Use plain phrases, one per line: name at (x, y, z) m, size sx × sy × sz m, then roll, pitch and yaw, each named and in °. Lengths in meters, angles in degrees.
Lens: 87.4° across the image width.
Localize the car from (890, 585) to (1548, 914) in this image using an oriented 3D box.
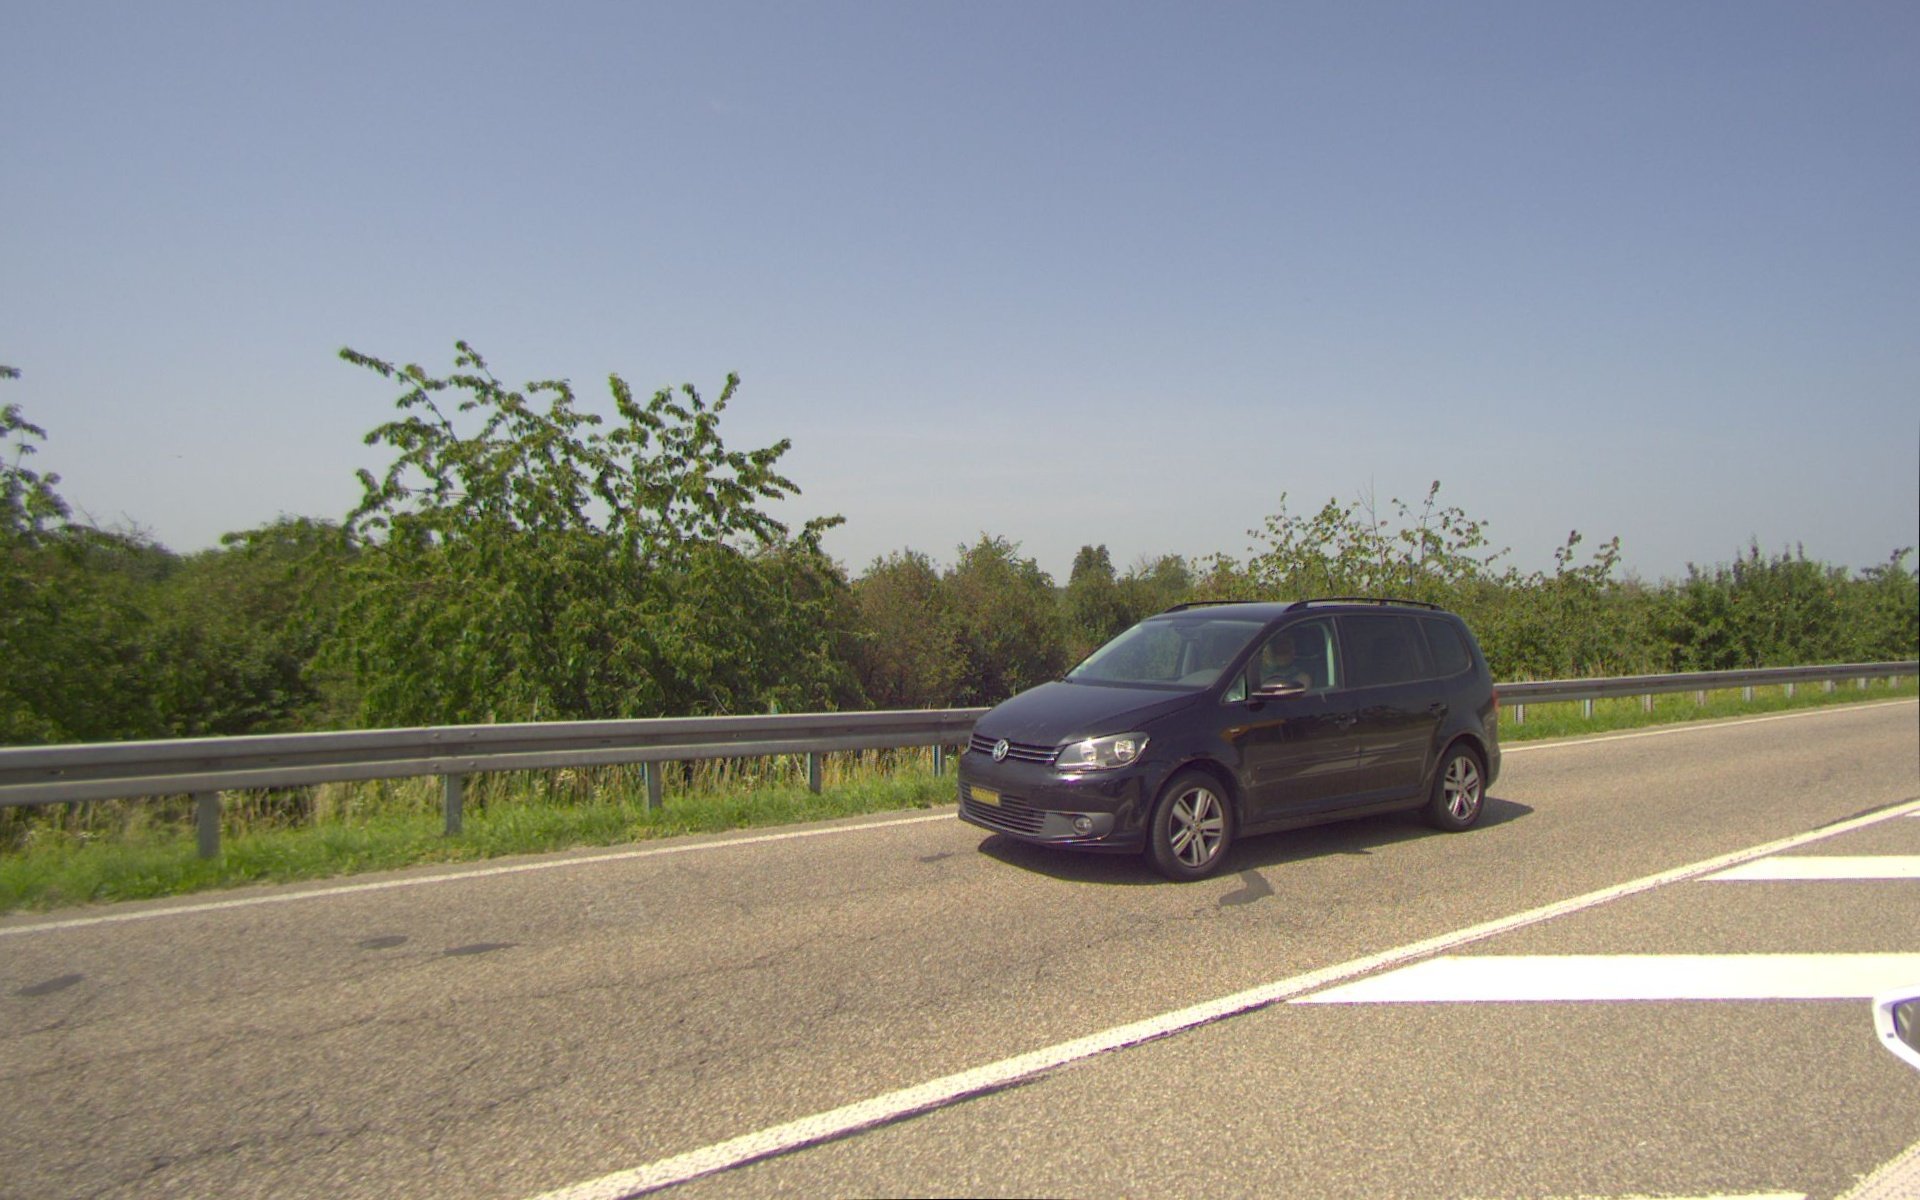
car at (2.017, 0.812, 7.127) m, size 4.758 × 1.659 × 1.793 m, roll 2°, pitch -1°, yaw -33°
